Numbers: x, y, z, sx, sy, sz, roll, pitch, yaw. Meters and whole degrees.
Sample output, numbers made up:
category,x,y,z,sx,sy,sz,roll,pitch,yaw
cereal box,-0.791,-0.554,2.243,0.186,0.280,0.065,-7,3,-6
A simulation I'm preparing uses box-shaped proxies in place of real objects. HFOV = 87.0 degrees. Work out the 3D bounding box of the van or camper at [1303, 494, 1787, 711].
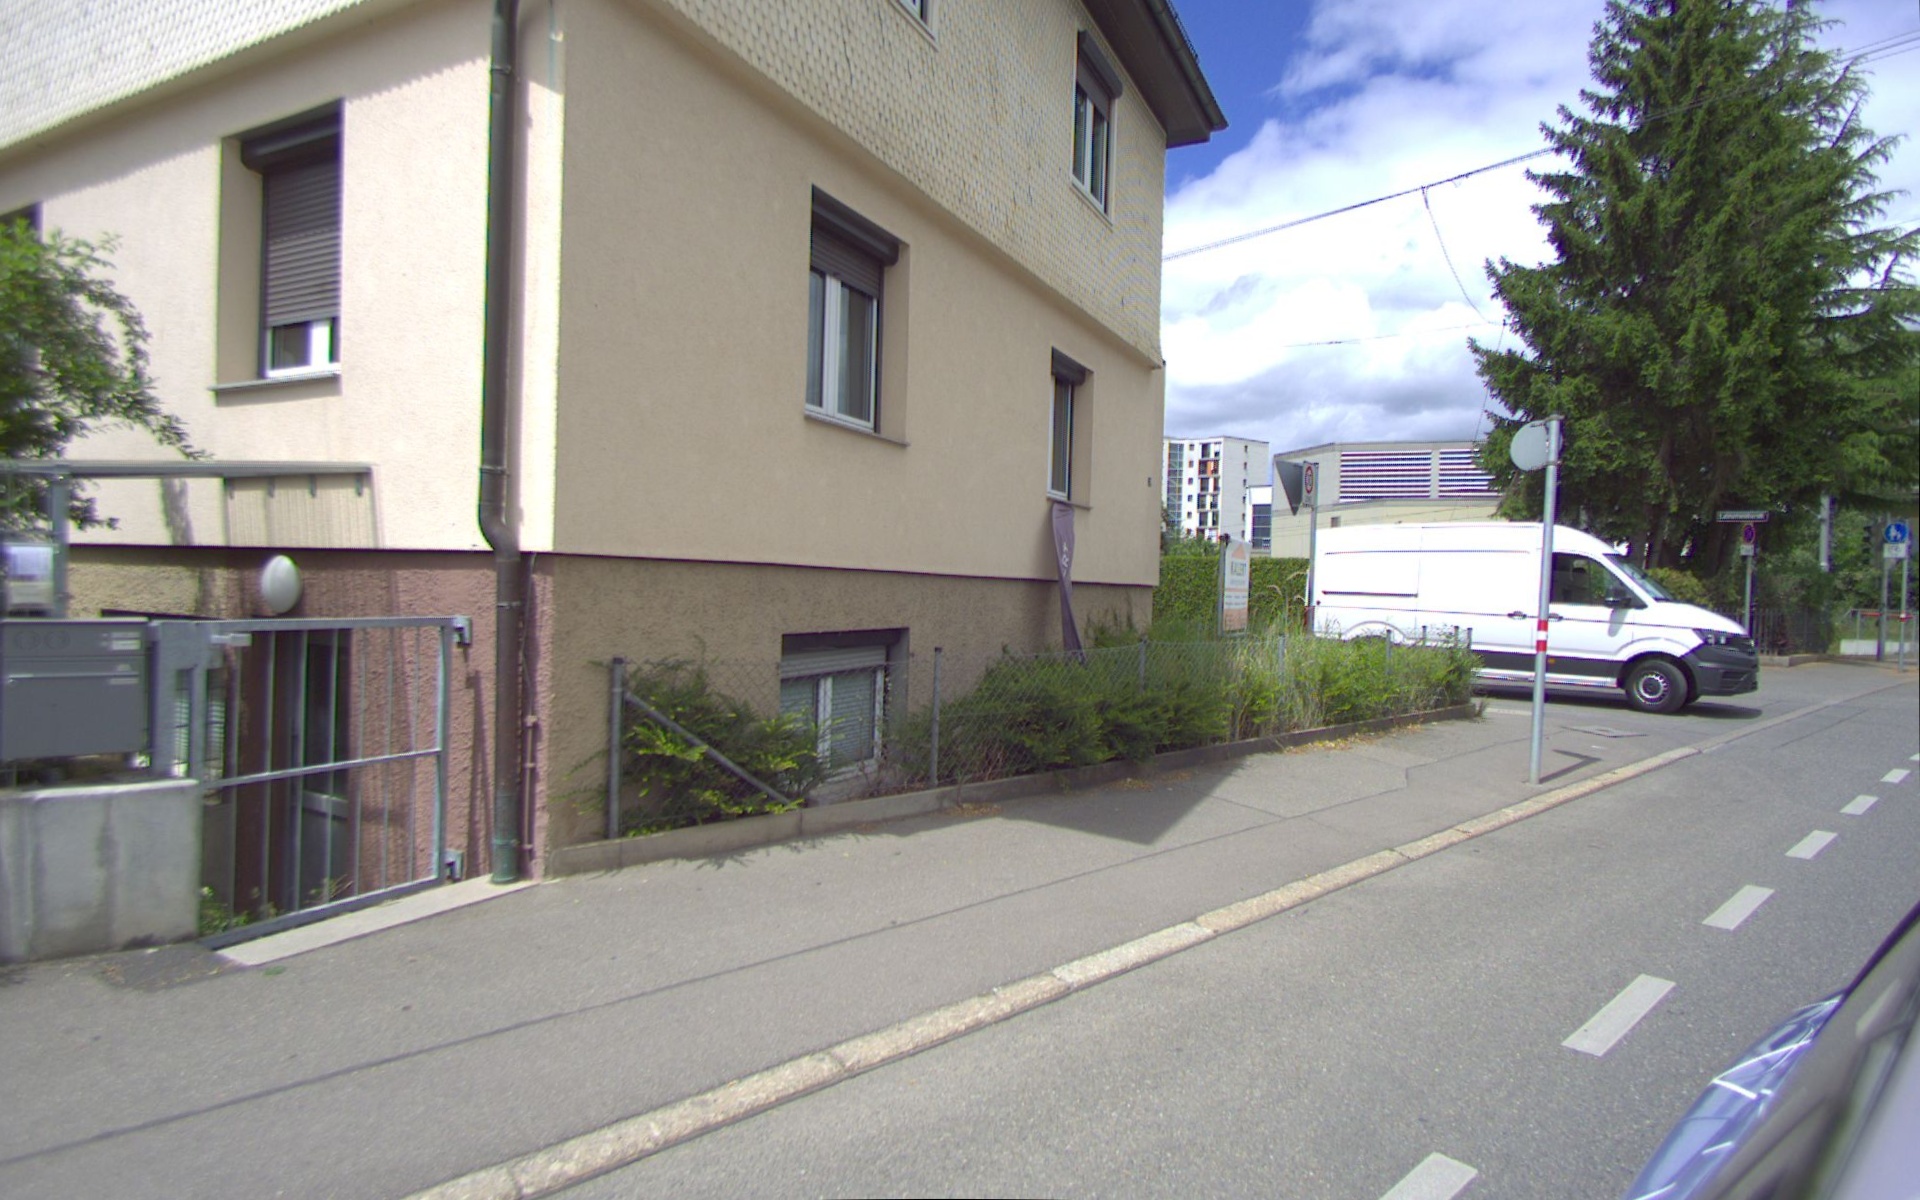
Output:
category,x,y,z,sx,sy,sz,roll,pitch,yaw
van or camper,8.336,0.021,14.927,5.901,2.613,2.000,1,-1,43
